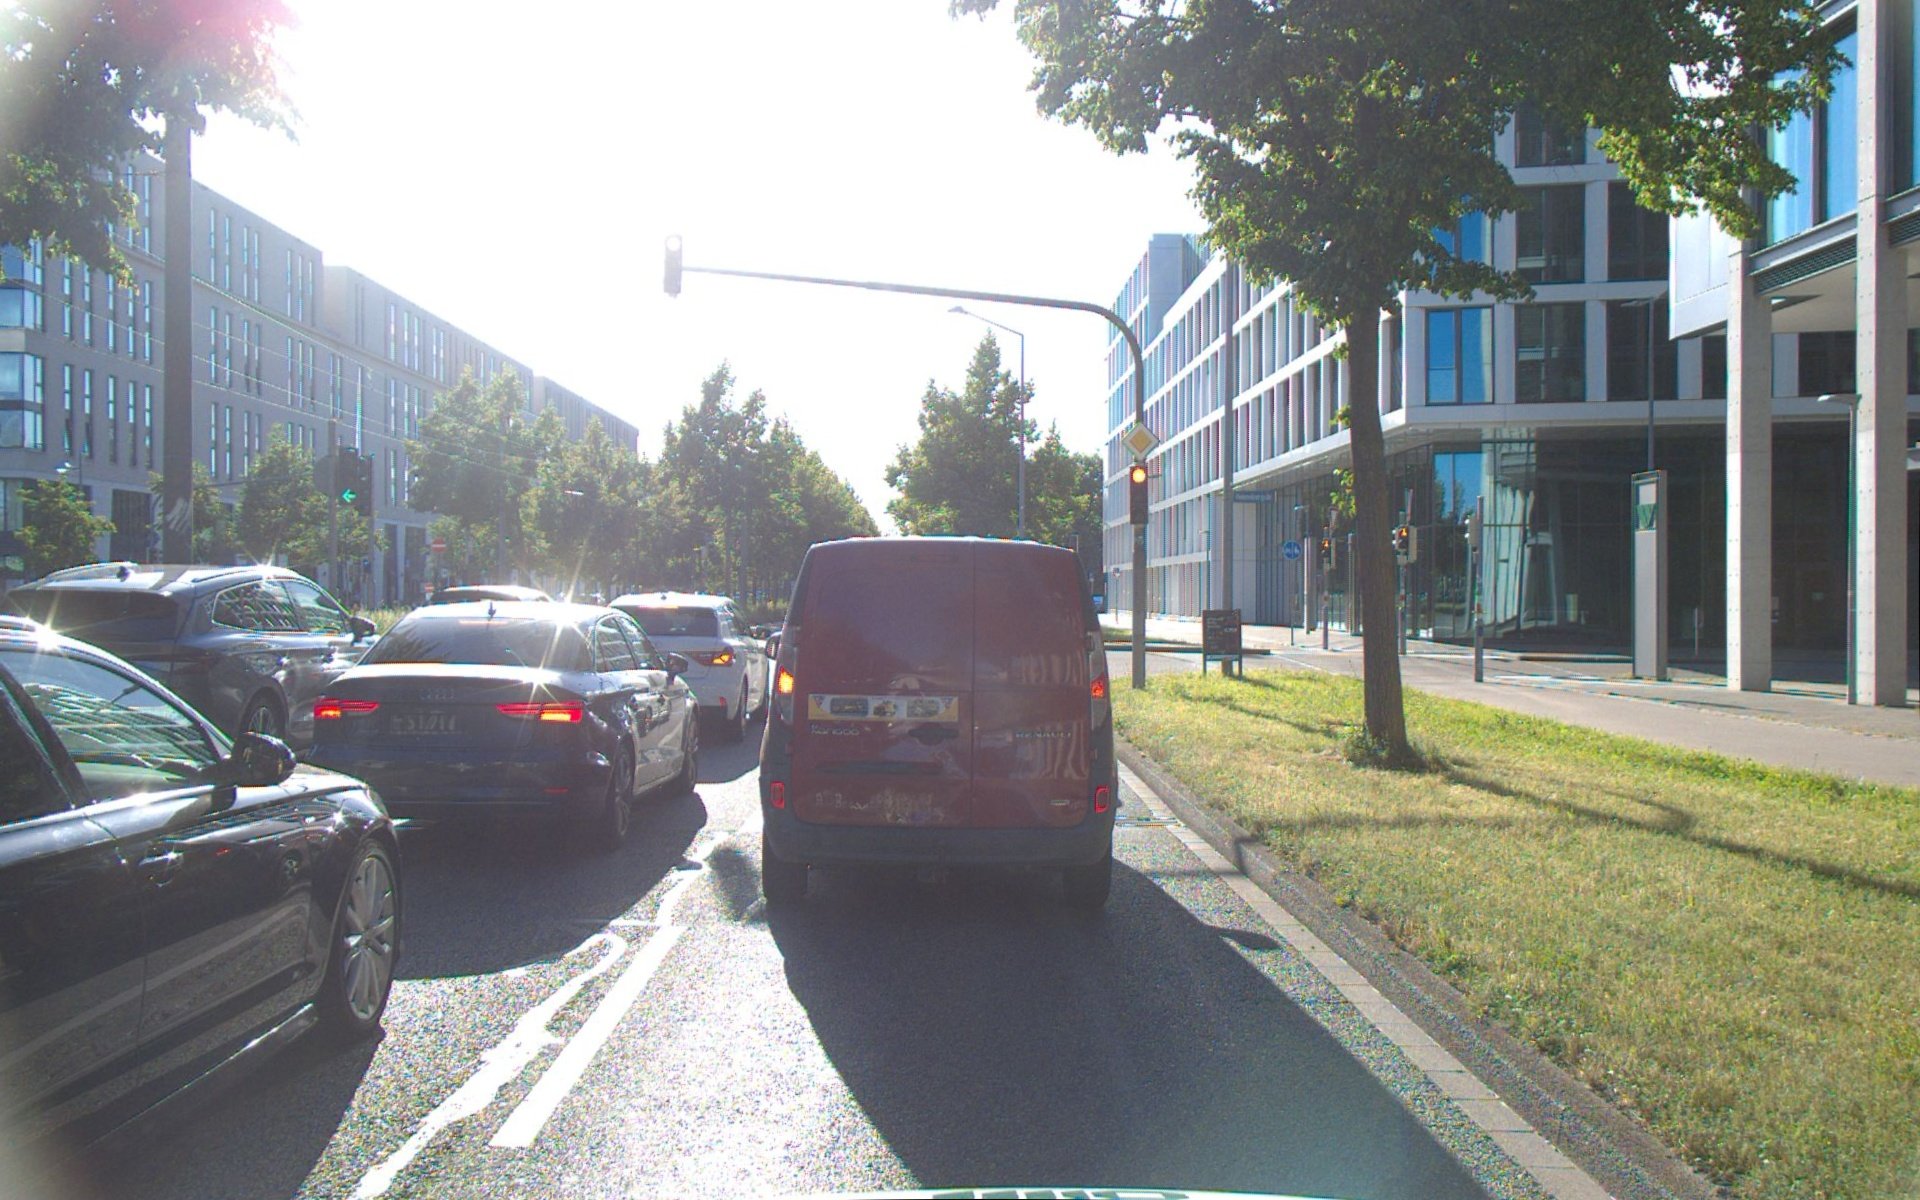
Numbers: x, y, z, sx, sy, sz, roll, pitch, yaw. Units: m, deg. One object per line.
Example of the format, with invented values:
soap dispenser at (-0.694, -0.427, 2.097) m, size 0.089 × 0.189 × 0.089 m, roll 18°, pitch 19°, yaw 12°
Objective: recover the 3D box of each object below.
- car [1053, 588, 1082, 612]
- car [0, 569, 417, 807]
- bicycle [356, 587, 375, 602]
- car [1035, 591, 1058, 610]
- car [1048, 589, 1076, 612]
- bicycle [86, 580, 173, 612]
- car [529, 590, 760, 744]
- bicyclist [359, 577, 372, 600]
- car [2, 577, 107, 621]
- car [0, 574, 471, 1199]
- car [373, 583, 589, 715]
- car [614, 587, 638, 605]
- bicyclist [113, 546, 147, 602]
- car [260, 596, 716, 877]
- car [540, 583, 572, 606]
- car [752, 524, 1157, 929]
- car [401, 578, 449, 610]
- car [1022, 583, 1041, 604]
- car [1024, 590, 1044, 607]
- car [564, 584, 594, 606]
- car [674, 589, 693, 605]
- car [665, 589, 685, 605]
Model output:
car at (8.317, -0.004, 128.082) m, size 1.953 × 1.813 × 3.999 m, roll 0°, pitch 0°, yaw -1°
car at (-5.729, 0.534, 12.745) m, size 1.763 × 1.473 × 4.566 m, roll 2°, pitch 0°, yaw -3°
bicycle at (-40.561, -0.368, 112.850) m, size 0.663 × 1.005 × 1.956 m, roll 0°, pitch 0°, yaw -1°
car at (8.407, 0.042, 160.857) m, size 1.953 × 1.813 × 3.999 m, roll 0°, pitch 0°, yaw -1°
car at (8.192, -0.003, 133.154) m, size 1.953 × 1.813 × 3.999 m, roll 0°, pitch 0°, yaw -1°
bicycle at (-31.936, -0.150, 63.628) m, size 2.883 × 1.211 × 0.817 m, roll 0°, pitch 0°, yaw -3°
car at (-3.224, 0.620, 17.632) m, size 1.767 × 1.451 × 3.900 m, roll 0°, pitch 0°, yaw -1°
bicyclist at (-40.566, -0.767, 112.836) m, size 0.663 × 1.556 × 0.714 m, roll 0°, pitch 0°, yaw -1°
car at (-33.206, -0.057, 60.764) m, size 1.729 × 1.546 × 3.999 m, roll 0°, pitch 1°, yaw -1°
car at (-2.739, 0.702, 3.919) m, size 1.836 × 1.510 × 4.965 m, roll 0°, pitch 0°, yaw -2°
car at (-6.329, 0.584, 22.370) m, size 1.764 × 1.508 × 4.565 m, roll 3°, pitch 0°, yaw -4°
car at (-36.735, -0.442, 181.966) m, size 1.953 × 2.049 × 3.999 m, roll 0°, pitch 0°, yaw -1°
bicyclist at (-31.943, -1.000, 63.639) m, size 0.921 × 2.129 × 0.817 m, roll 0°, pitch 0°, yaw -2°
car at (-2.792, 0.711, 10.846) m, size 1.804 × 1.451 × 4.338 m, roll 0°, pitch 0°, yaw -1°
car at (-36.380, -0.472, 148.885) m, size 1.953 × 2.049 × 3.999 m, roll 0°, pitch 0°, yaw -1°
car at (-0.053, 0.558, 9.416) m, size 1.804 × 1.812 × 3.999 m, roll 0°, pitch 0°, yaw -1°
car at (-35.296, -0.396, 109.222) m, size 1.953 × 2.049 × 3.999 m, roll 0°, pitch 0°, yaw -1°
car at (8.563, -0.755, 198.578) m, size 1.953 × 2.540 × 4.986 m, roll 0°, pitch 0°, yaw -1°
car at (8.051, -0.149, 180.052) m, size 1.953 × 1.813 × 3.999 m, roll 0°, pitch 0°, yaw -1°
car at (-36.399, -0.460, 157.985) m, size 1.953 × 2.049 × 3.999 m, roll 0°, pitch 0°, yaw -1°
car at (-37.185, -0.407, 222.414) m, size 1.953 × 2.049 × 3.999 m, roll 0°, pitch 0°, yaw -1°
car at (-37.373, -0.423, 216.788) m, size 1.953 × 2.049 × 3.999 m, roll 0°, pitch 0°, yaw -1°
